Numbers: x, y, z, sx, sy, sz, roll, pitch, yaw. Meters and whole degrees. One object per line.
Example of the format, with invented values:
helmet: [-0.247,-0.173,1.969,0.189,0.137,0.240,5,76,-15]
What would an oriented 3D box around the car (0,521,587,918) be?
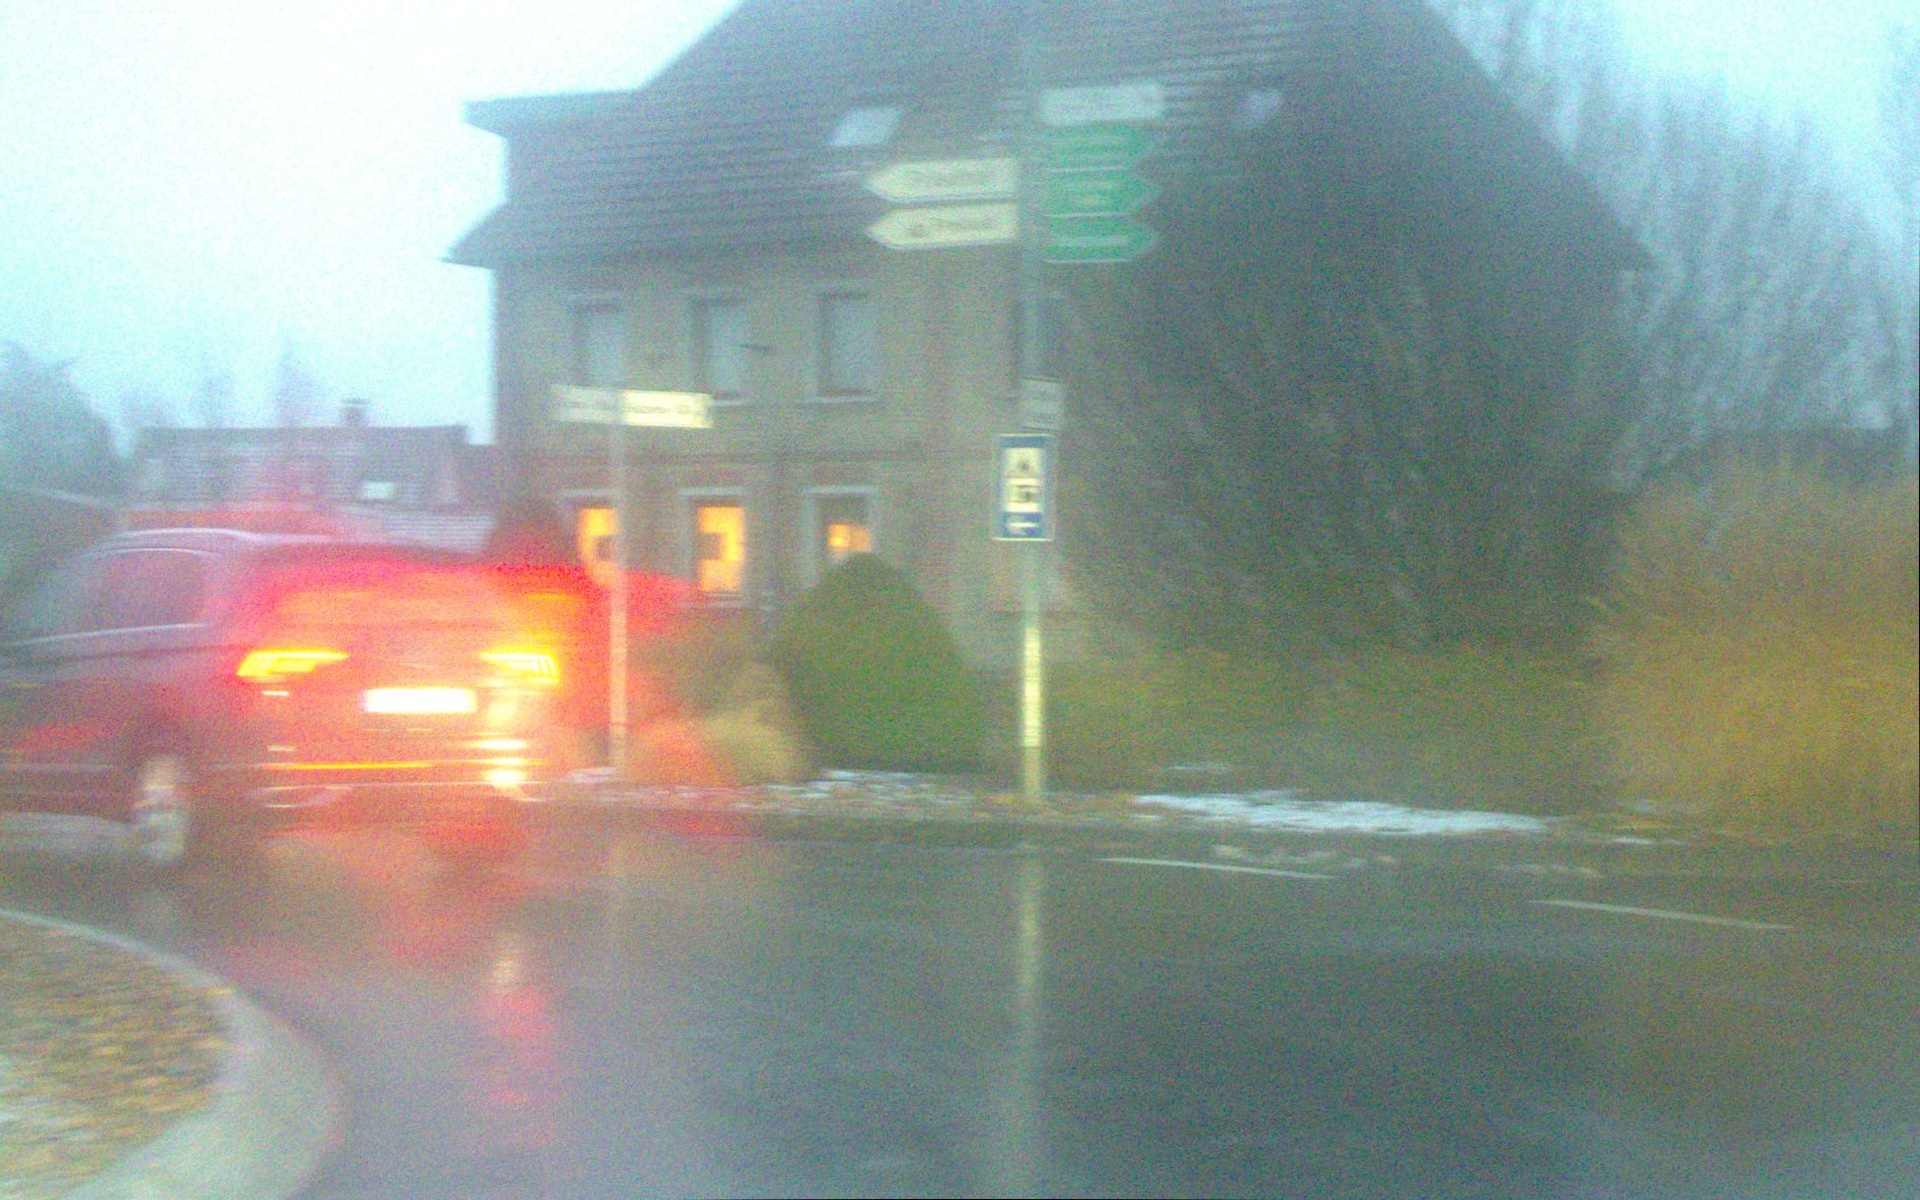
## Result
car: [-3.627,0.487,17.022,1.944,1.712,4.000,0,1,-33]
